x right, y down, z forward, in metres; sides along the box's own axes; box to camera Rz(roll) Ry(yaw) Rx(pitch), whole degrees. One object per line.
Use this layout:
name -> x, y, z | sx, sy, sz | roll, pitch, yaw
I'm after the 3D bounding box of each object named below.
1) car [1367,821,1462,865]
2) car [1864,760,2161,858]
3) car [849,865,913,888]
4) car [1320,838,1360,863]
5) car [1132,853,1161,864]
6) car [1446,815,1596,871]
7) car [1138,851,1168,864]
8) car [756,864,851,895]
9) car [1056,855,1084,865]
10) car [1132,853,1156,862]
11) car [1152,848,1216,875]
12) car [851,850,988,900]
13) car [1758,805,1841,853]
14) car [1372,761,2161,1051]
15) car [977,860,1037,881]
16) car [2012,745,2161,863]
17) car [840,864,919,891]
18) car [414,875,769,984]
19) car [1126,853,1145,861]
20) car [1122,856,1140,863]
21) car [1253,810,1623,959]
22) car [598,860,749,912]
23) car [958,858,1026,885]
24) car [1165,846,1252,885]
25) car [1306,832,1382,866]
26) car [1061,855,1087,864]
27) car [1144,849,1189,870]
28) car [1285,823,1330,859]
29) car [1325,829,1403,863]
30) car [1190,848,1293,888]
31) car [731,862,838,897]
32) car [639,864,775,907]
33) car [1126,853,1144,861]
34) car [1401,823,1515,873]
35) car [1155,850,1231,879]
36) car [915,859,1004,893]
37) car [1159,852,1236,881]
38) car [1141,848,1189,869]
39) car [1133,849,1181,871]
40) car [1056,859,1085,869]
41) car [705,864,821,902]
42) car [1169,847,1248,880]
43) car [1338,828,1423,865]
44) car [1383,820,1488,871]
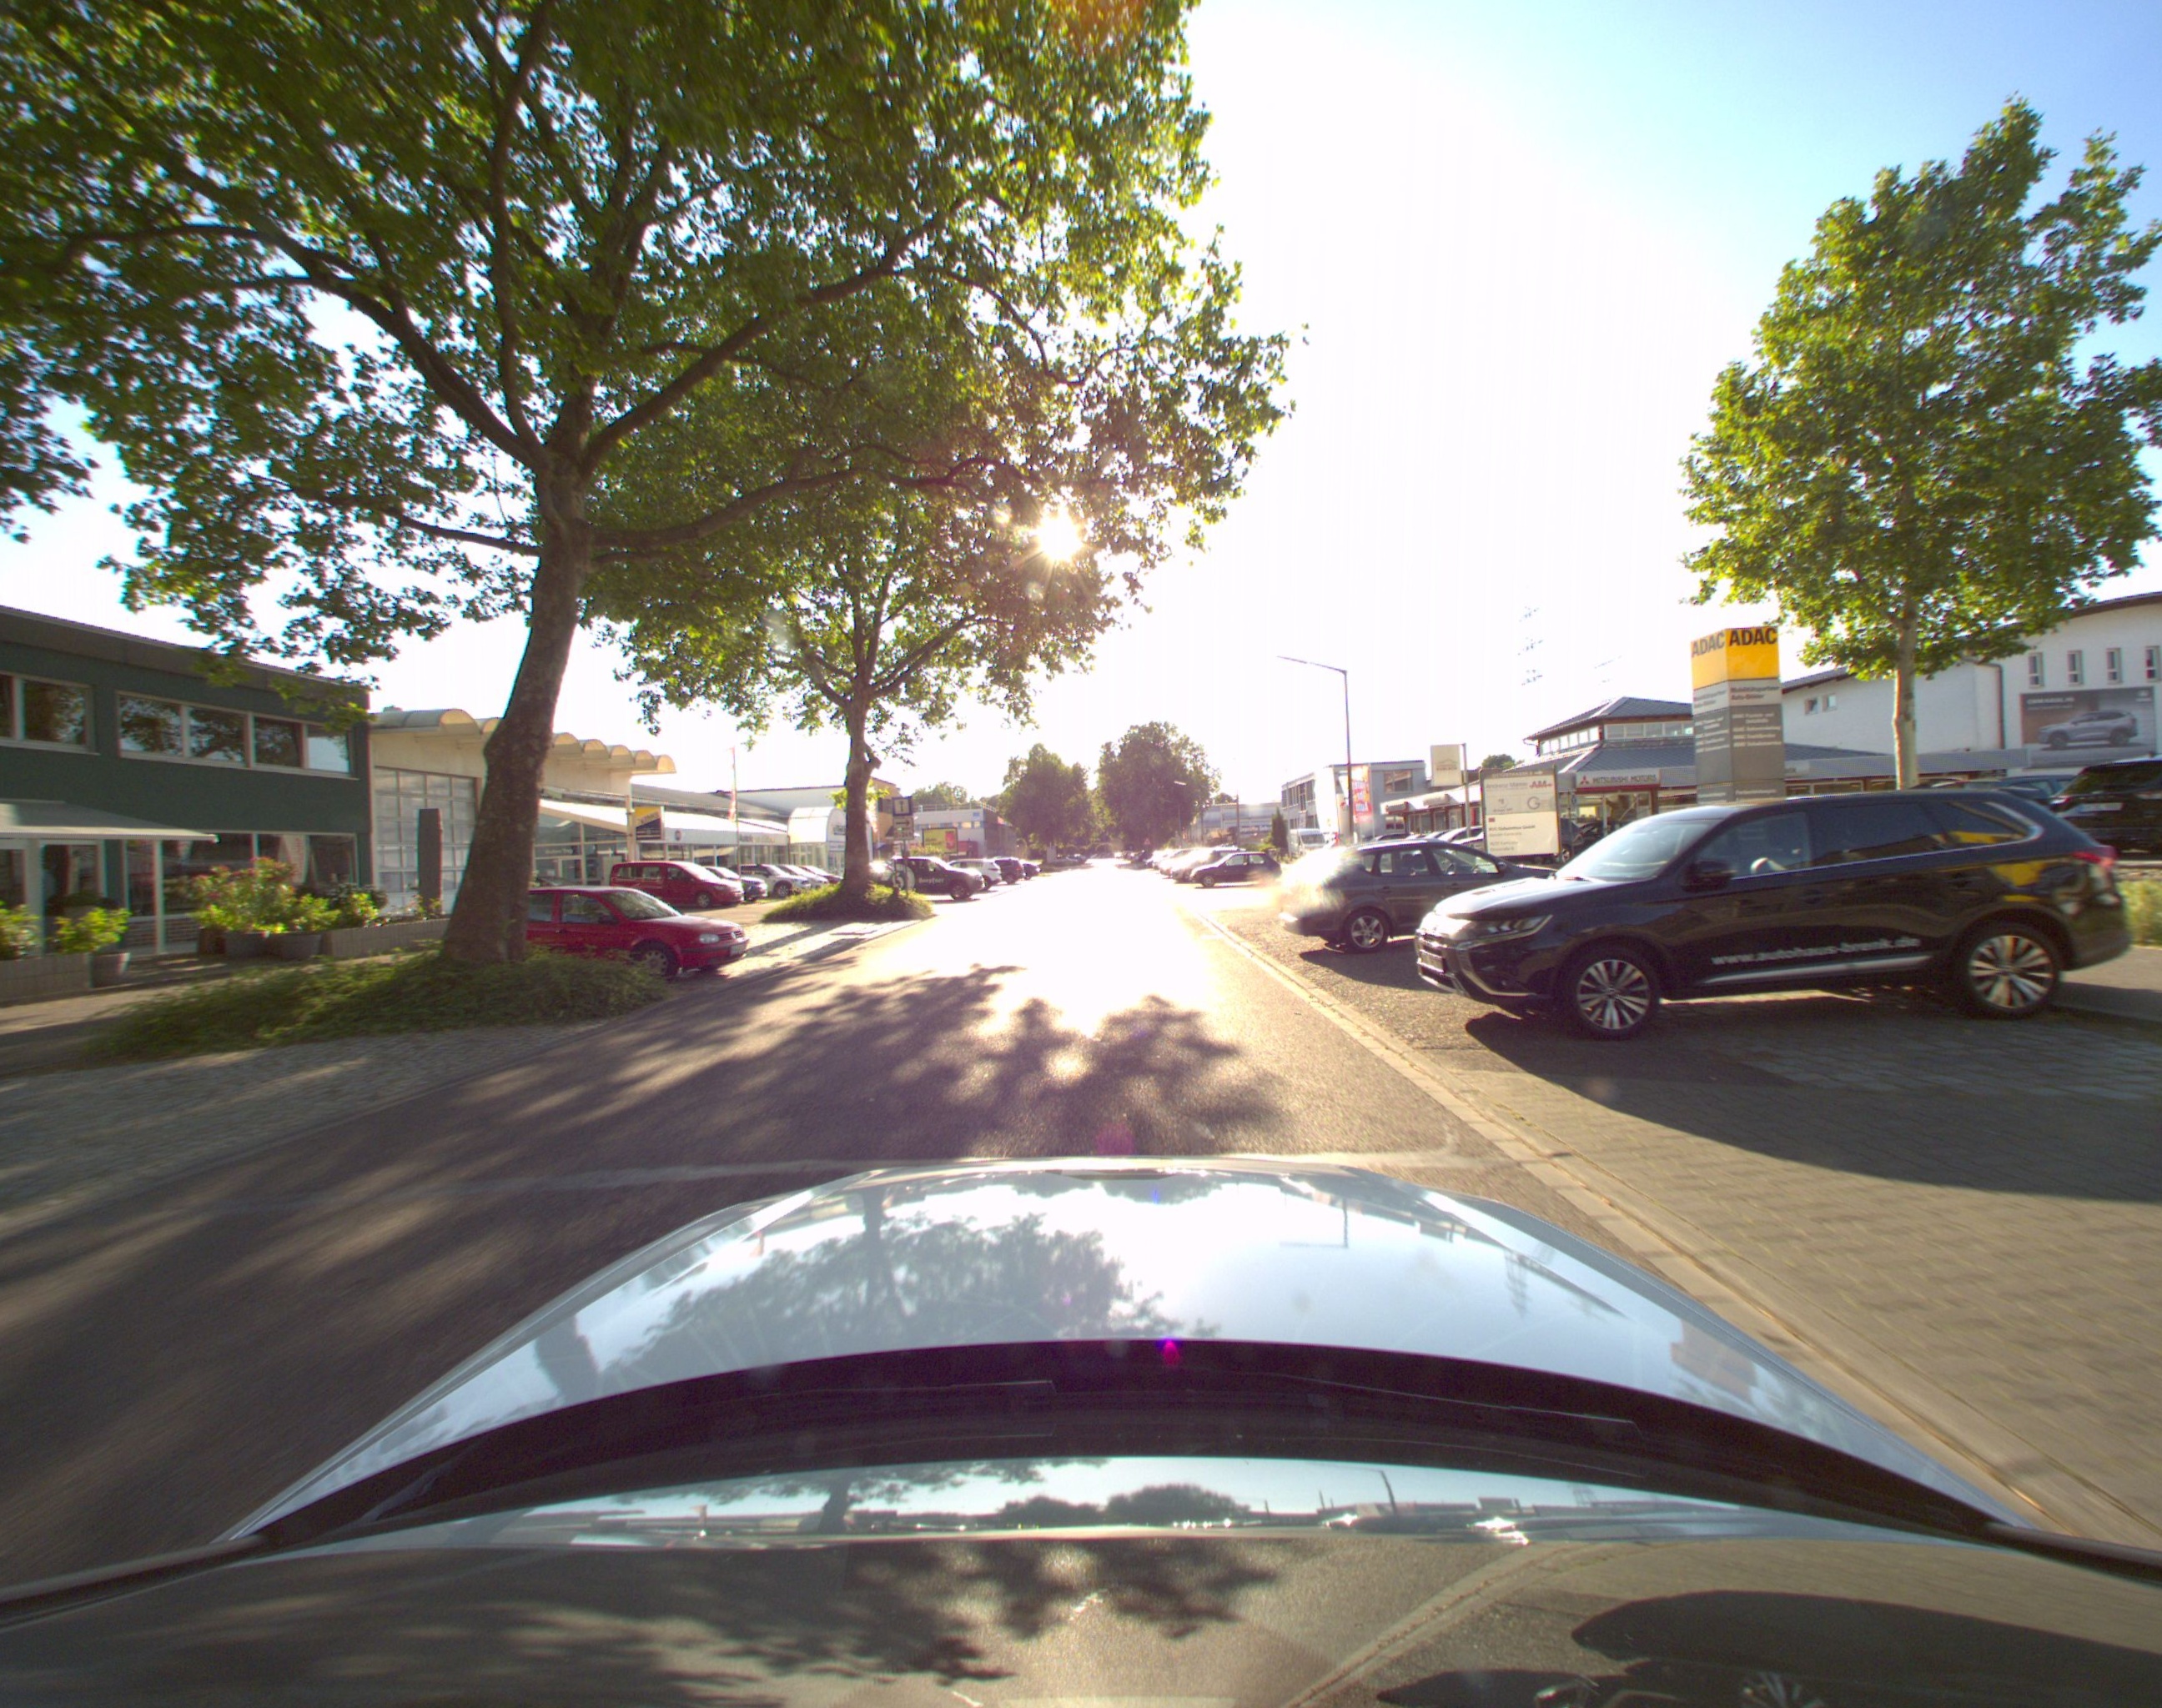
car -> 16.448, -0.523, 40.271 | 3.887, 1.899, 1.787 | -3, -2, 2
car -> 16.589, -0.739, 14.215 | 3.976, 1.519, 1.998 | -1, -1, -2
car -> -14.377, 1.594, 58.675 | 3.971, 1.555, 2.001 | -1, -1, 2
car -> 20.227, -0.251, 63.827 | 1.986, 1.799, 4.002 | -1, 0, 2
car -> 9.463, 0.612, 117.828 | 3.971, 1.415, 1.828 | -3, -1, 2
car -> 16.552, -0.387, 30.836 | 4.478, 1.898, 2.203 | -2, -1, 1
car -> 9.744, 0.477, 110.470 | 3.971, 1.415, 2.001 | -3, -1, 2
car -> -14.943, 1.359, 44.006 | 4.448, 1.553, 1.836 | -1, -1, 0
car -> -1.835, 0.973, 136.078 | 4.396, 1.517, 2.002 | -1, -1, 3
car -> 10.694, 0.578, 138.693 | 3.971, 1.415, 1.828 | -3, -1, 2
car -> 7.832, 0.565, 62.346 | 4.541, 1.597, 2.201 | -6, -1, -1
car -> -6.713, 0.869, 34.343 | 5.240, 1.898, 2.203 | -2, -1, 1
car -> 26.413, -0.891, 29.919 | 3.596, 1.633, 1.717 | -1, -1, -40
car -> 5.064, 0.391, 6.671 | 4.580, 1.579, 2.002 | -6, -1, 4
car -> -5.583, 1.248, 61.906 | 4.300, 1.460, 2.201 | -2, -1, -1
car -> 16.579, -0.715, 11.801 | 3.976, 1.595, 1.998 | -1, -1, -2
car -> -13.846, 1.592, 56.206 | 4.928, 1.689, 1.999 | -1, -1, -1
car -> -7.413, 1.115, 12.677 | 4.280, 1.446, 2.001 | -1, -1, 1
car -> 11.505, 0.646, 173.301 | 3.971, 1.415, 1.828 | -3, -1, 2
car -> 11.369, 1.226, 186.292 | 3.971, 1.415, 1.828 | -3, -1, 2
car -> 5.118, 0.434, 12.227 | 4.584, 1.613, 2.001 | -6, -1, 1
car -> -15.588, 1.212, 31.307 | 4.729, 1.819, 2.000 | -1, -1, 0
car -> -5.778, 1.145, 53.274 | 4.218, 1.655, 2.201 | -2, -1, -1
car -> 6.341, 0.562, 40.815 | 3.976, 1.588, 1.866 | -4, -1, -2
car -> 16.715, -0.316, 51.849 | 4.128, 1.771, 2.001 | -4, -1, 2
car -> -1.215, 1.021, 146.803 | 4.396, 1.517, 2.002 | -1, -1, 3
car -> 8.108, 0.539, 77.784 | 3.975, 1.652, 1.742 | -5, -1, 0
car -> 17.779, -0.962, 64.217 | 1.985, 2.625, 6.141 | -1, 0, 2
car -> 16.909, -0.459, 48.812 | 3.971, 1.659, 2.001 | -4, -1, 2
car -> 6.577, 0.563, 33.688 | 3.968, 1.296, 1.786 | -4, 0, 5
car -> -15.028, 1.269, 41.440 | 4.645, 1.592, 1.928 | -1, -1, 0
car -> -15.602, 1.298, 34.151 | 4.697, 1.634, 2.000 | -1, -1, 0
car -> 12.487, 0.676, 188.714 | 3.971, 1.777, 1.828 | -3, -1, 2
car -> 16.199, -0.289, 35.179 | 3.918, 1.898, 2.203 | -2, 2, 2
car -> 6.956, 0.622, 50.918 | 4.421, 1.436, 2.136 | -4, 0, 1
car -> -6.323, 1.136, 42.678 | 4.289, 1.656, 2.201 | -2, -1, -1
car -> 6.870, 0.732, 48.353 | 4.234, 1.605, 1.743 | -1, -1, -5
car -> 8.338, 0.487, 80.912 | 4.511, 1.672, 1.752 | -5, -1, -1
car -> 6.732, 0.522, 72.202 | 3.963, 1.613, 2.005 | -4, -1, 9
car -> -1.623, 1.520, 123.252 | 4.405, 1.403, 1.998 | -1, -1, -3
car -> -15.141, 1.375, 38.944 | 4.702, 1.643, 2.000 | -1, -1, 0
car -> 7.154, 0.540, 45.819 | 4.097, 1.740, 1.883 | -1, -1, -2
car -> 16.610, -0.411, 45.331 | 3.971, 1.697, 2.001 | -4, -1, 2
car -> 16.299, -0.383, 37.649 | 3.785, 1.898, 2.203 | -6, 0, 2
